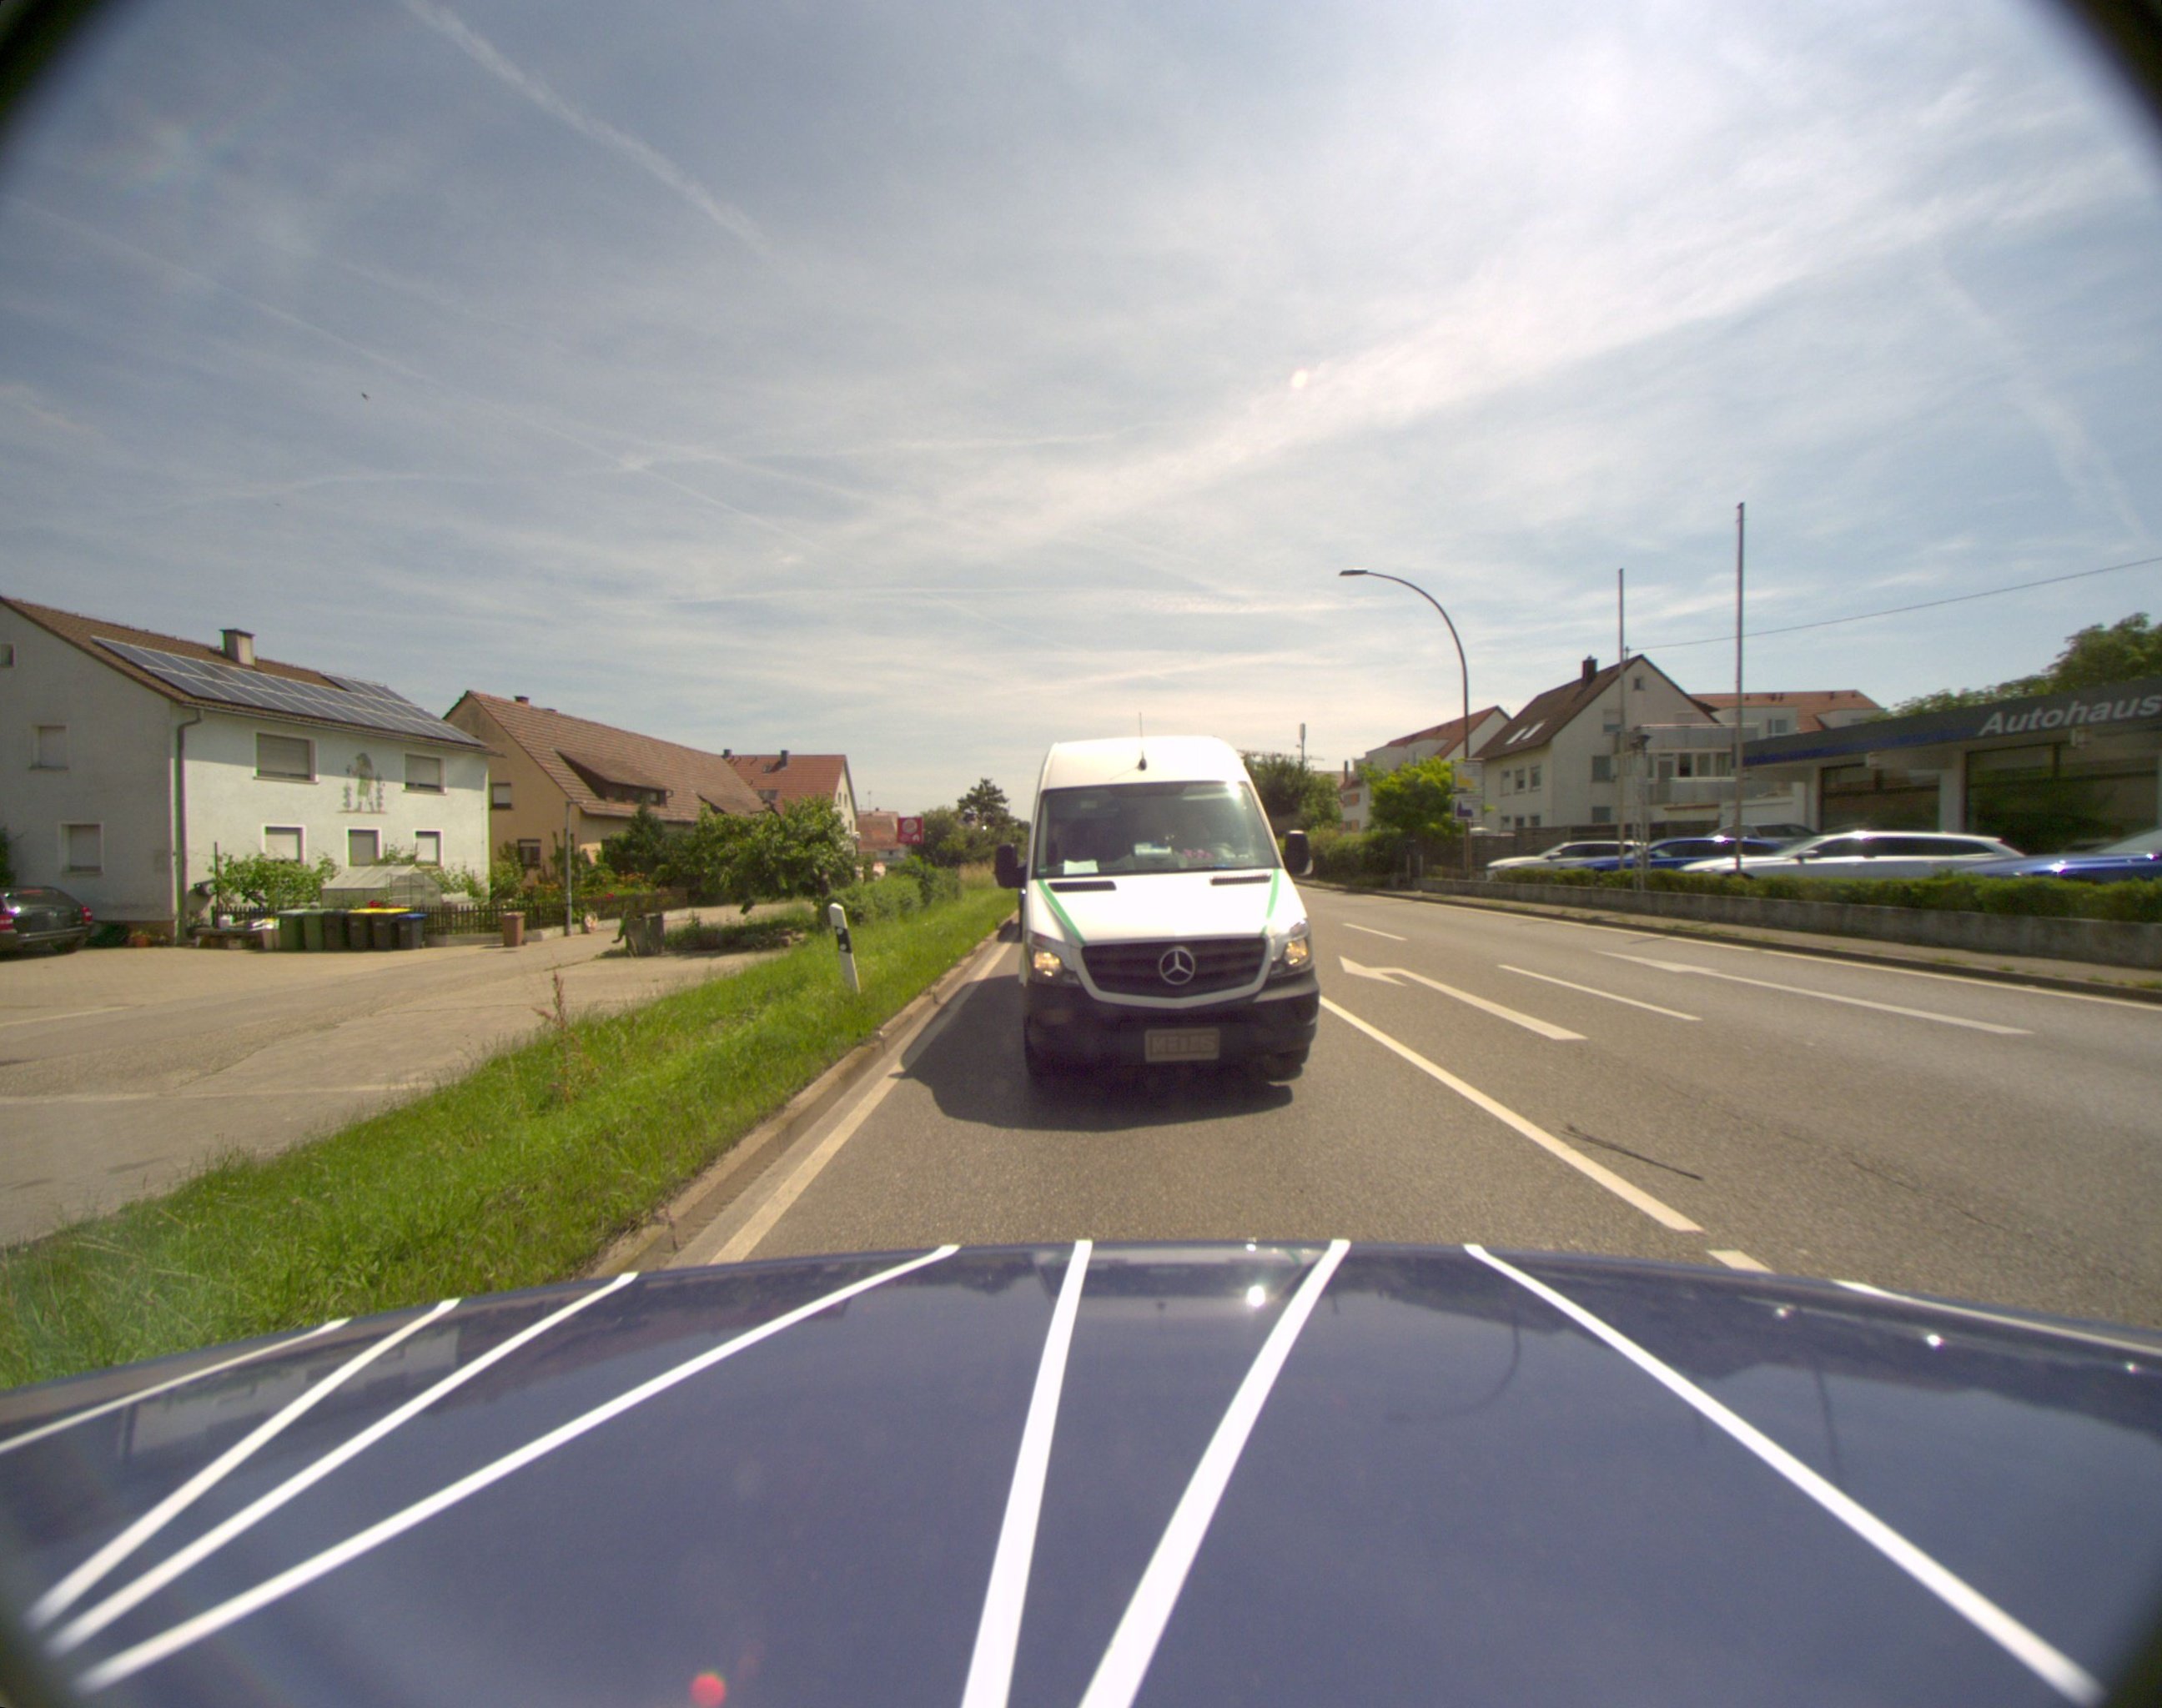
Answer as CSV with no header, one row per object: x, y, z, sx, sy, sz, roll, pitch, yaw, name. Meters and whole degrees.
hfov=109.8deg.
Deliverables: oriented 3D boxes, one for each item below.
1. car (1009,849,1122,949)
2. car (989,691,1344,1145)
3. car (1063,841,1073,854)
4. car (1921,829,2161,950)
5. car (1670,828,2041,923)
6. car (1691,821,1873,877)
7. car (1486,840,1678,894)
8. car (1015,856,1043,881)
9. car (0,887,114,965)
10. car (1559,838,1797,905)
-0.288,0.794,15.733,1.884,1.652,4.625,-4,0,0,car
0.478,0.354,7.162,1.939,2.514,5.748,-2,0,0,car
-2.751,-1.373,159.144,1.998,2.574,3.999,-2,1,0,car
14.468,0.411,9.902,4.331,1.439,1.860,-2,1,26,car
14.120,0.424,14.317,4.505,1.439,1.860,-4,0,30,car
20.859,-0.162,22.925,1.807,1.456,4.585,-2,0,10,car
14.607,0.398,22.479,4.568,1.439,1.860,-2,2,29,car
-3.479,0.955,51.536,1.636,1.476,3.551,-4,1,-1,car
-26.788,1.719,18.606,3.957,1.683,1.844,0,1,3,car
14.365,0.427,18.653,4.331,1.439,1.860,-2,2,29,car
